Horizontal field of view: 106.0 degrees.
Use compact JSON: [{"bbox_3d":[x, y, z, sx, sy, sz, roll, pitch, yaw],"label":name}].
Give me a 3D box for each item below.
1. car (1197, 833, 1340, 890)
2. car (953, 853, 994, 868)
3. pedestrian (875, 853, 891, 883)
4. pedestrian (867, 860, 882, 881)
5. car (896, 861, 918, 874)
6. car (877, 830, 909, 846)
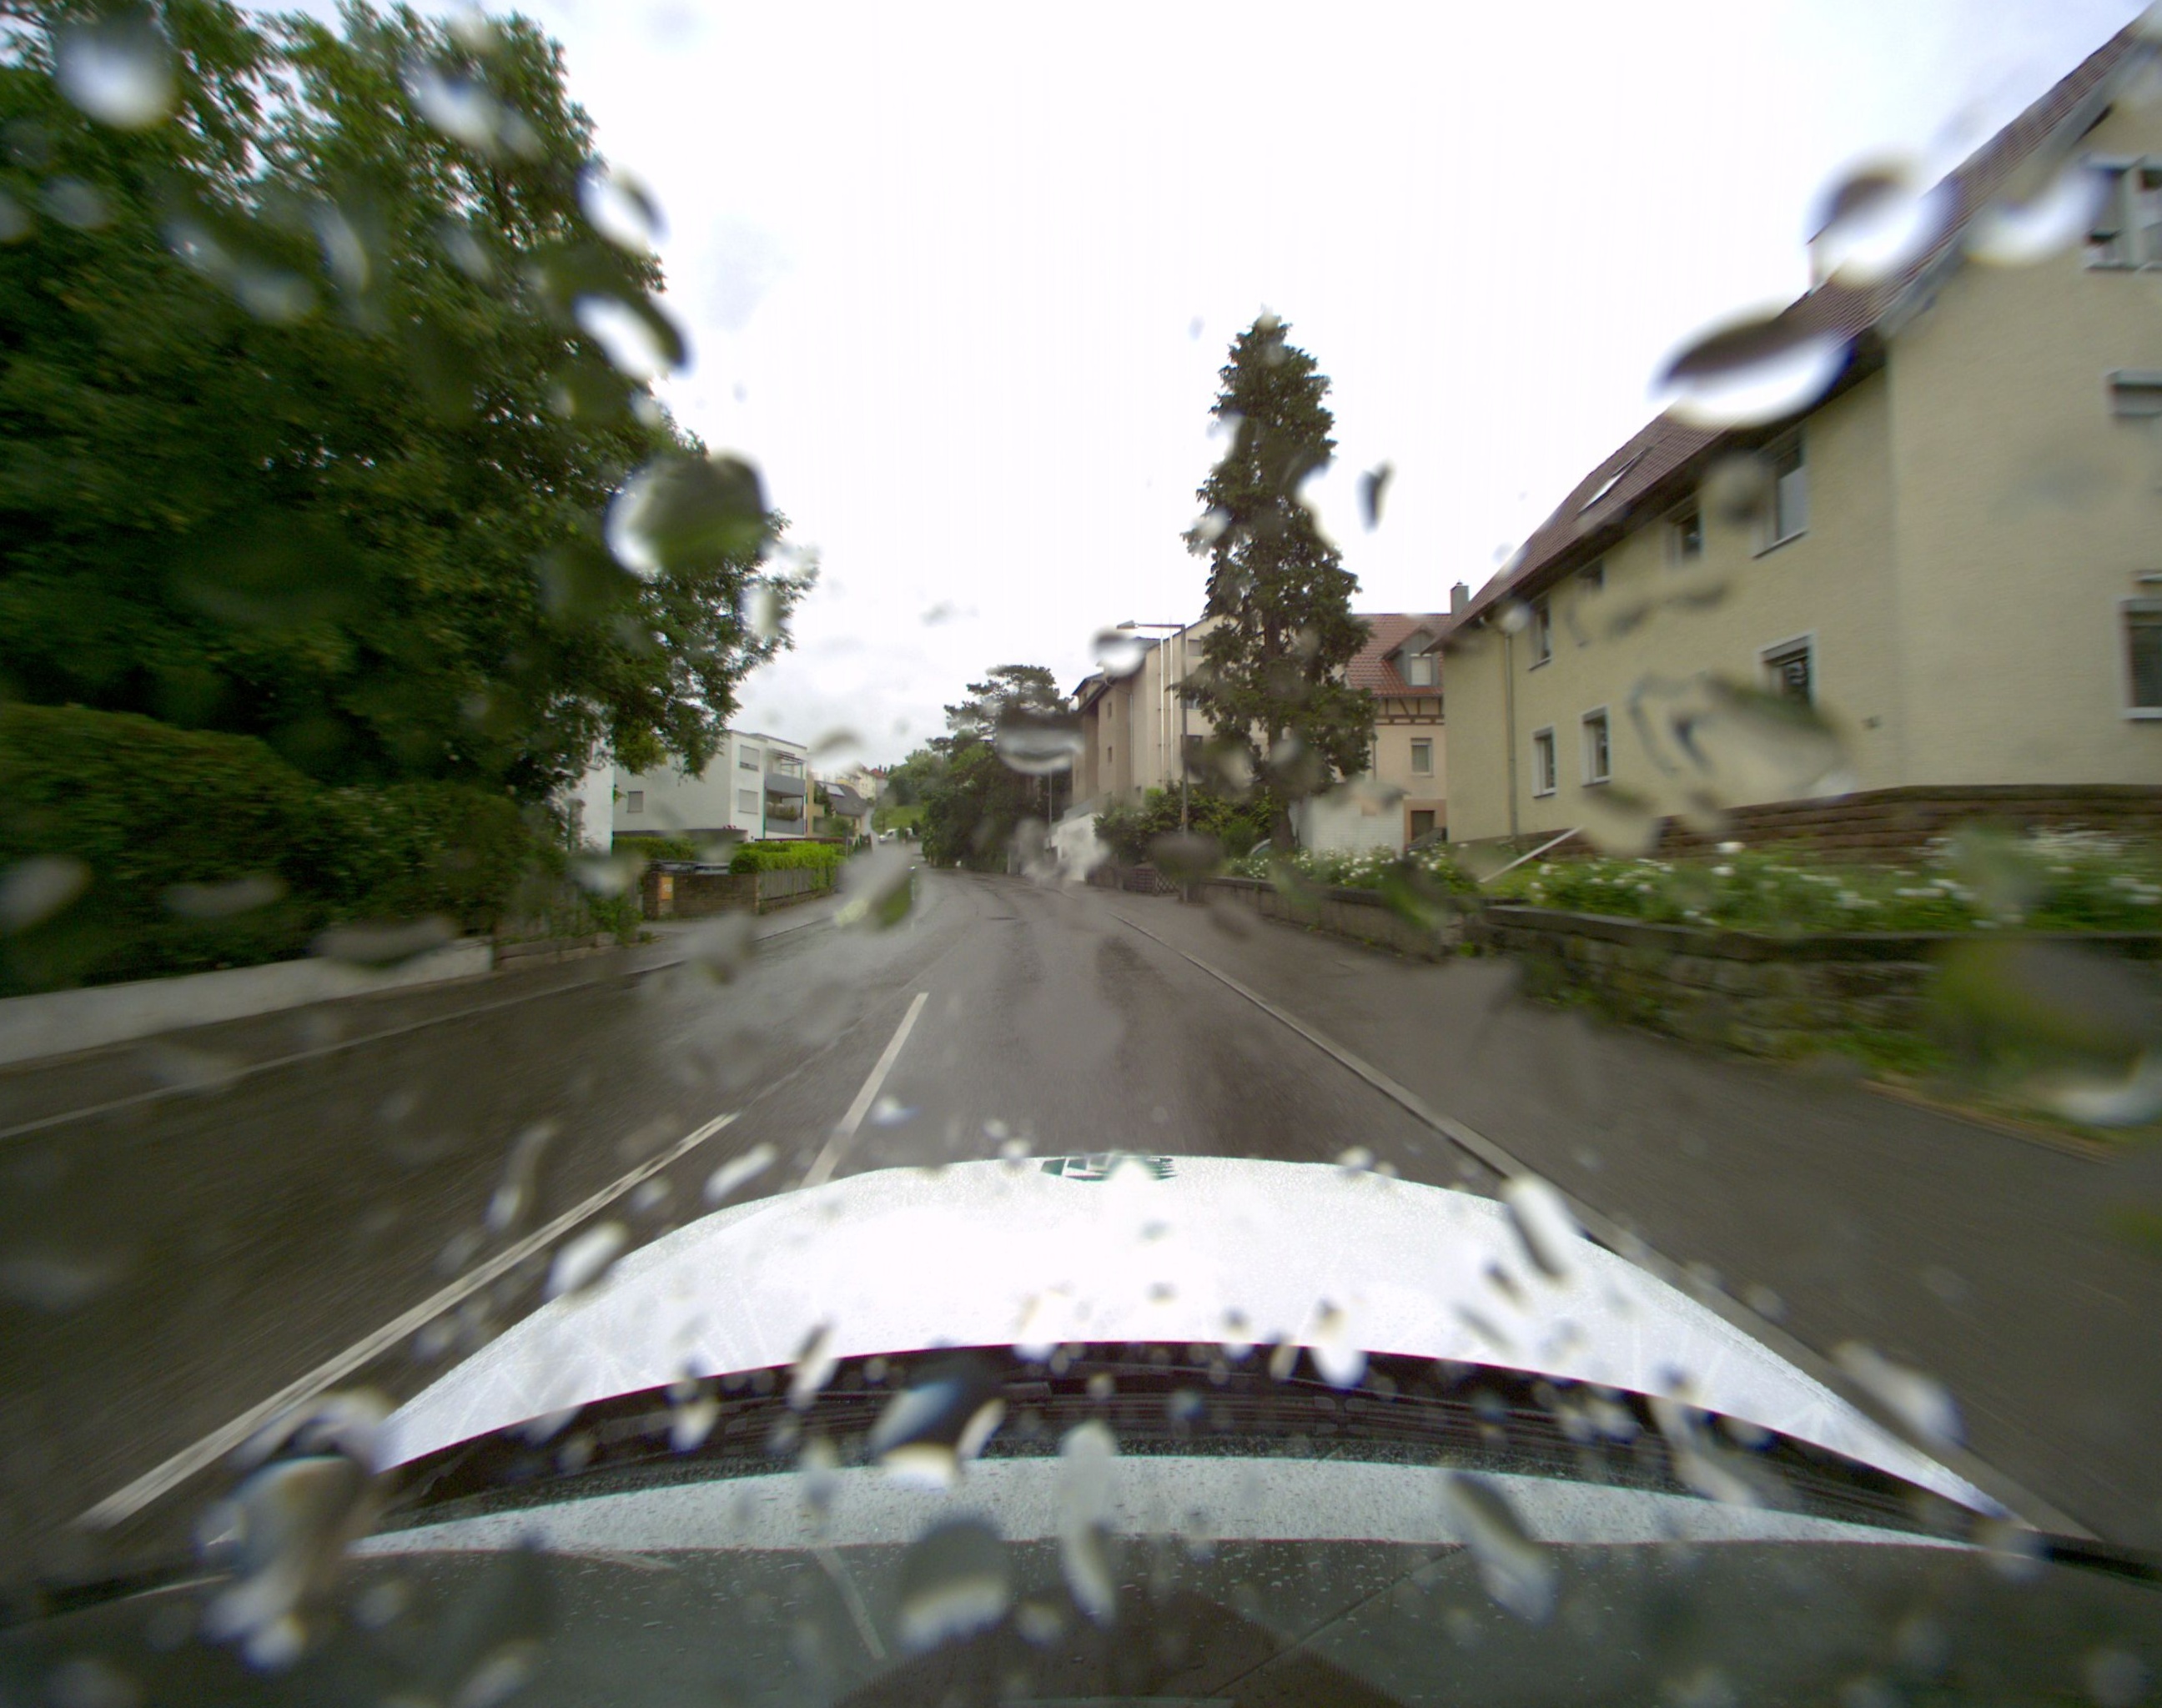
[{"bbox_3d":[6.131,0.233,27.039,4.301,1.653,1.964,-2,0,1],"label":"car"},{"bbox_3d":[-12.102,0.693,91.697,4.157,1.476,1.892,-3,1,-20],"label":"car"},{"bbox_3d":[-11.076,0.782,45.606,0.756,1.644,1.036,2,-1,-10],"label":"pedestrian"},{"bbox_3d":[-11.857,0.952,46.721,0.756,1.180,1.036,1,-1,-10],"label":"pedestrian"},{"bbox_3d":[-16.326,1.220,76.523,1.678,1.146,3.989,-1,0,-8],"label":"car"},{"bbox_3d":[-32.794,-2.789,142.081,4.965,2.569,1.890,-3,1,-23],"label":"car"}]
